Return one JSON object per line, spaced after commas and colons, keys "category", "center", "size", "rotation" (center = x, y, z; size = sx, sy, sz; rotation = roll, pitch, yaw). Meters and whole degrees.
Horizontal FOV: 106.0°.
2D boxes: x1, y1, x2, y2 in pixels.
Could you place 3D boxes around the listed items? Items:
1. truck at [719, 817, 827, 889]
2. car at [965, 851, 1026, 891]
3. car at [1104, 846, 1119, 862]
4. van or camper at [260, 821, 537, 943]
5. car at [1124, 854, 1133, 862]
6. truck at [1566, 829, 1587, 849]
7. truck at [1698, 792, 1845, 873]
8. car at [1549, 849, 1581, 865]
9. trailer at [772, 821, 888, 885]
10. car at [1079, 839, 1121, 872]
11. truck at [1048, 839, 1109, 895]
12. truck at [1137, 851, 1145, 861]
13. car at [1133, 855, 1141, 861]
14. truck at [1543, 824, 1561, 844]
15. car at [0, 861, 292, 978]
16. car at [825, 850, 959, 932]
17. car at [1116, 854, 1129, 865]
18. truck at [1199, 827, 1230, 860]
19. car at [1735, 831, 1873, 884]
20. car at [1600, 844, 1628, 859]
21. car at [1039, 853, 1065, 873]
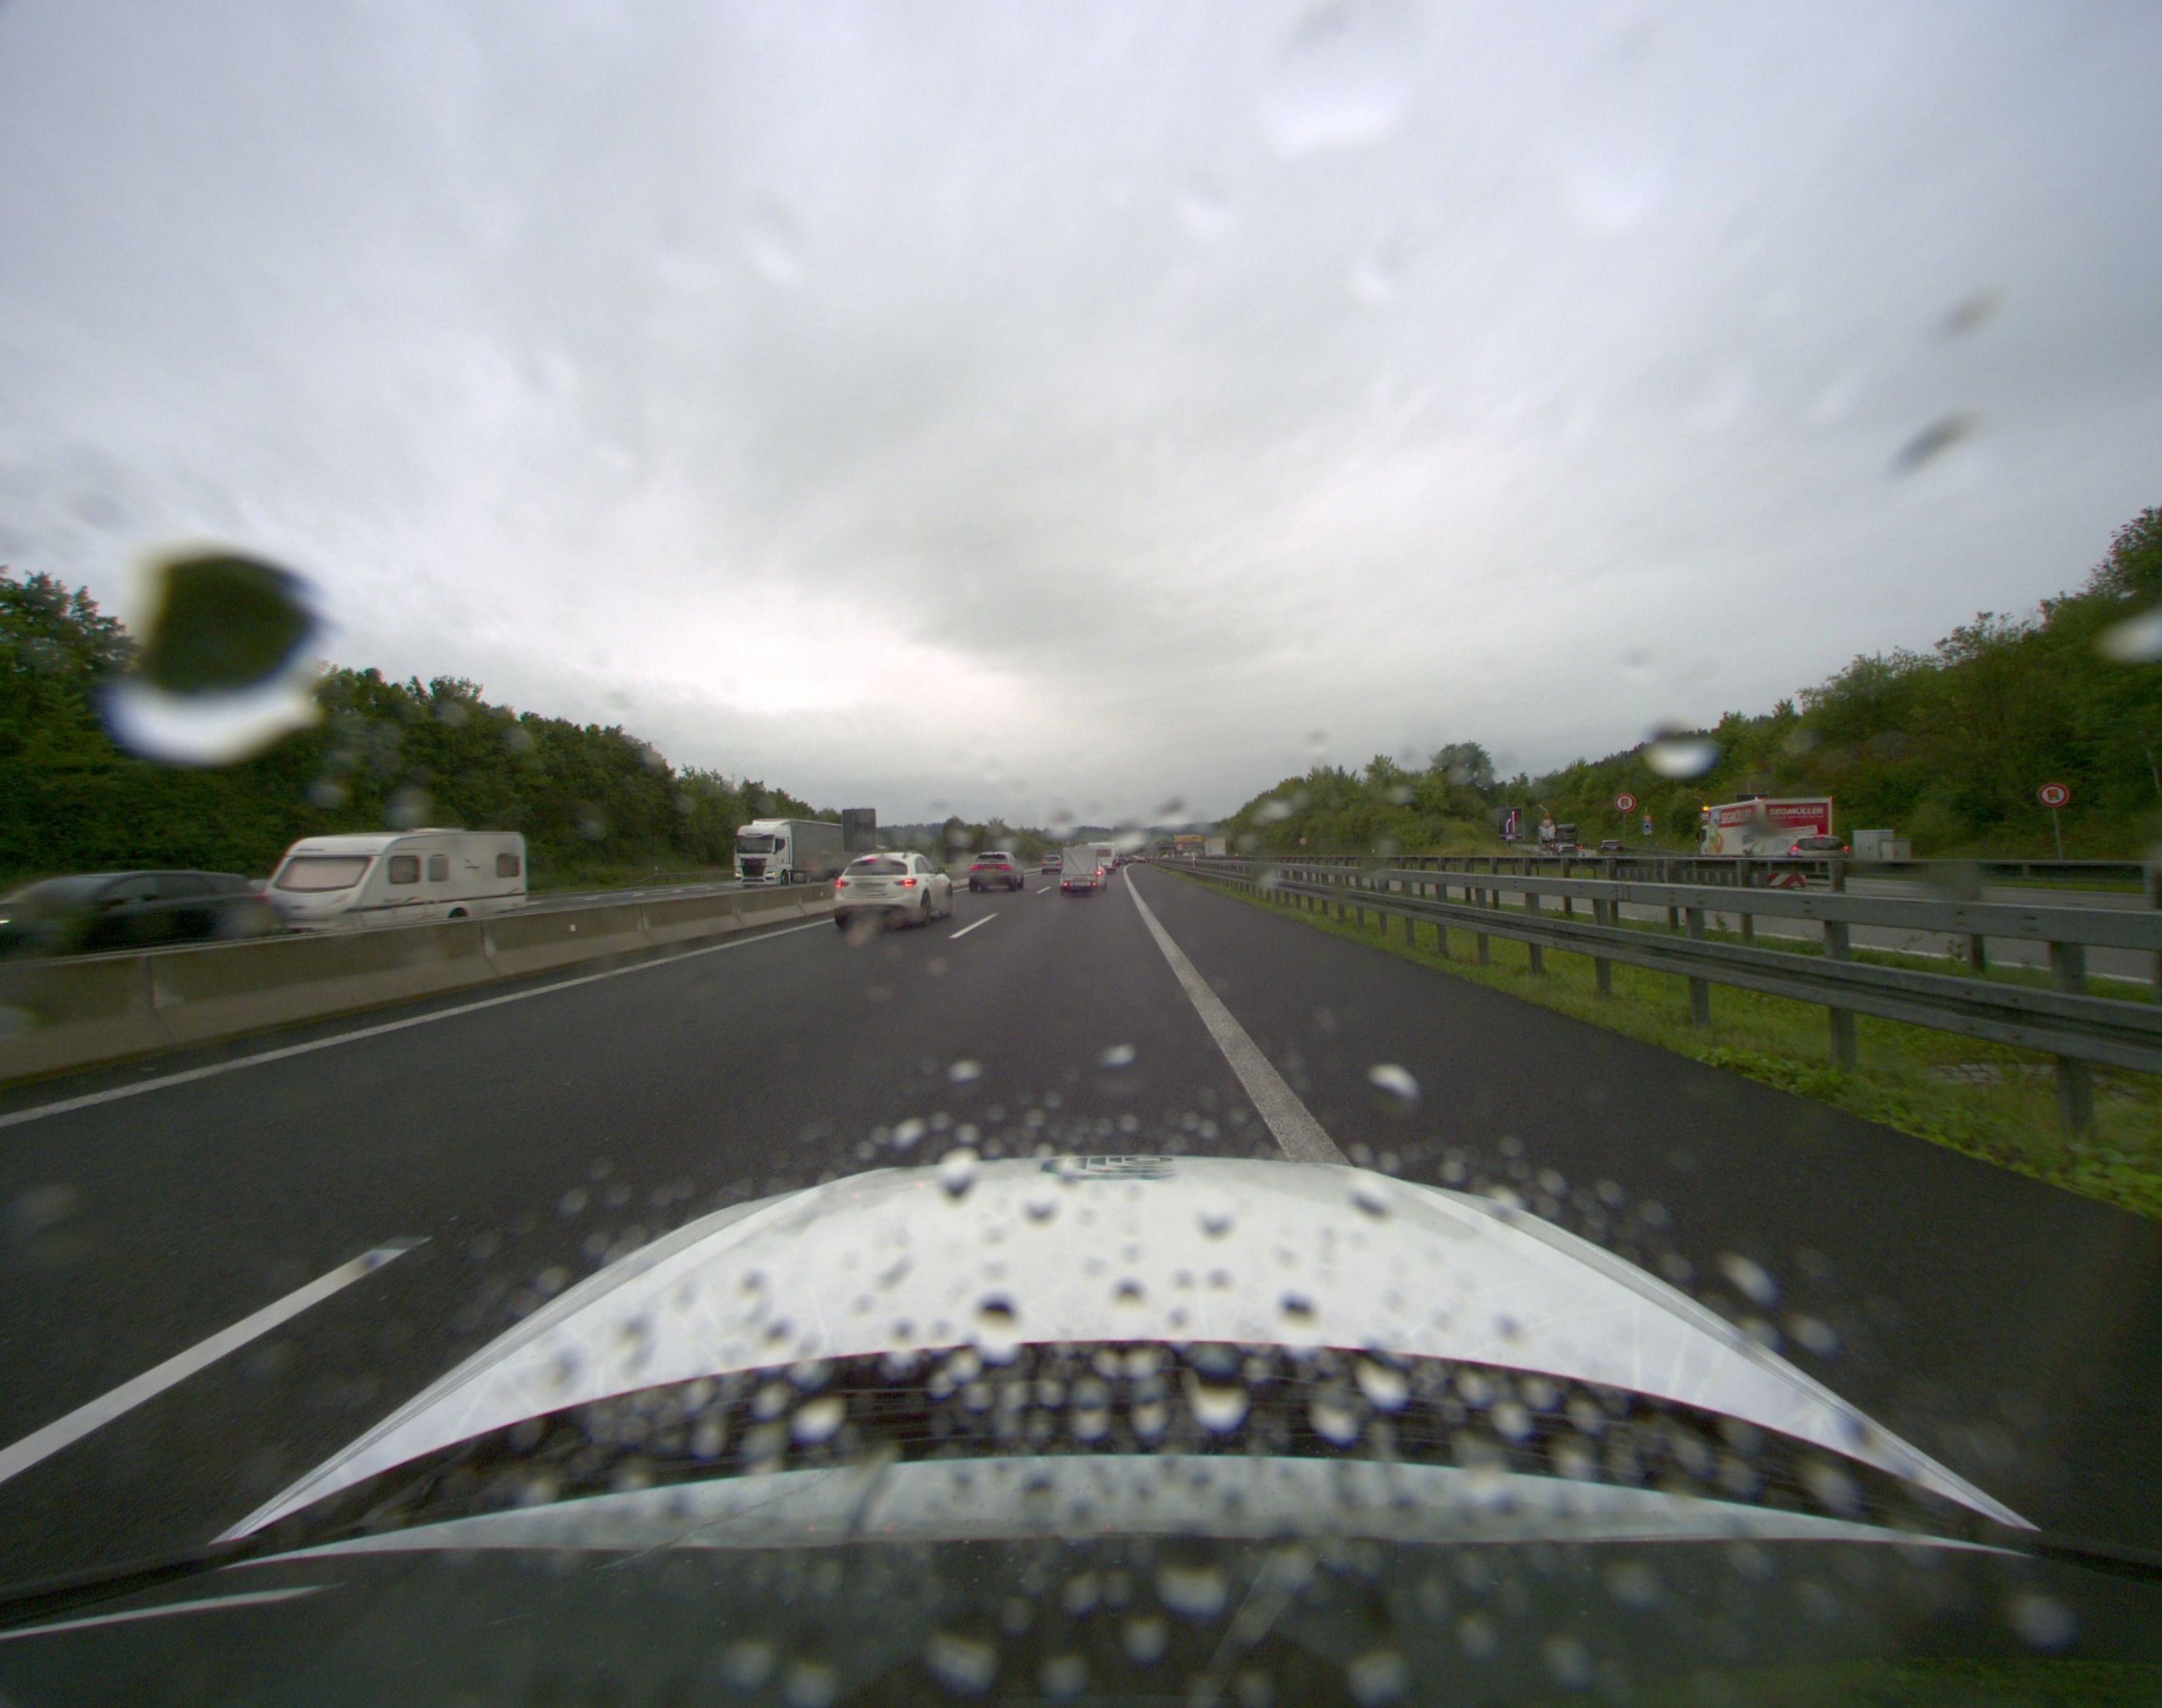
{"category": "truck", "center": [-18.814, -0.056, 50.384], "size": [3.245, 4.083, 7.450], "rotation": [-1, 0, 4]}
{"category": "car", "center": [-3.765, 0.725, 36.602], "size": [2.166, 1.631, 4.501], "rotation": [-1, 0, 1]}
{"category": "car", "center": [4.034, -0.011, 109.064], "size": [1.986, 2.036, 4.152], "rotation": [0, -1, 1]}
{"category": "van or camper", "center": [-15.976, 0.579, 19.621], "size": [1.788, 2.470, 5.551], "rotation": [-1, 0, 2]}
{"category": "car", "center": [11.174, 0.898, 191.768], "size": [1.984, 1.750, 4.005], "rotation": [0, 0, 5]}
{"category": "truck", "center": [70.129, -2.108, 115.229], "size": [2.416, 2.704, 5.604], "rotation": [-2, 0, 31]}
{"category": "truck", "center": [32.793, -0.917, 39.177], "size": [2.873, 3.395, 9.025], "rotation": [-1, 0, 24]}
{"category": "car", "center": [46.858, 0.259, 78.951], "size": [1.844, 1.447, 4.178], "rotation": [-2, 0, 20]}
{"category": "trailer", "center": [-18.067, -0.075, 60.243], "size": [3.245, 4.083, 13.861], "rotation": [-1, 0, 4]}
{"category": "car", "center": [1.687, 0.120, 68.462], "size": [3.002, 2.616, 6.084], "rotation": [-2, 0, 5]}
{"category": "truck", "center": [0.034, 0.464, 33.197], "size": [2.010, 1.985, 7.218], "rotation": [-1, 0, 3]}
{"category": "truck", "center": [19.131, 0.630, 259.777], "size": [2.266, 3.082, 7.258], "rotation": [-1, 0, 6]}
{"category": "car", "center": [16.055, 1.150, 232.979], "size": [1.983, 1.750, 4.007], "rotation": [-1, 0, 6]}
{"category": "truck", "center": [72.734, -3.012, 125.647], "size": [2.223, 2.878, 8.225], "rotation": [-1, 0, 30]}
{"category": "car", "center": [-16.067, 0.970, 13.534], "size": [1.522, 1.620, 4.389], "rotation": [-1, 0, 1]}
{"category": "car", "center": [-4.217, 0.772, 18.970], "size": [1.969, 1.639, 4.501], "rotation": [-1, 0, 1]}
{"category": "car", "center": [6.934, 0.940, 135.878], "size": [1.984, 1.750, 4.005], "rotation": [0, 0, 5]}
{"category": "truck", "center": [21.268, -1.633, 130.314], "size": [4.074, 5.103, 10.477], "rotation": [-1, 0, 5]}
{"category": "car", "center": [24.821, 0.111, 28.196], "size": [1.845, 1.659, 4.493], "rotation": [-2, 0, 17]}
{"category": "car", "center": [51.953, -0.238, 79.435], "size": [1.842, 1.447, 4.183], "rotation": [-2, 0, 29]}
{"category": "car", "center": [-2.485, 0.787, 70.893], "size": [1.893, 1.613, 4.019], "rotation": [-1, 0, 2]}
